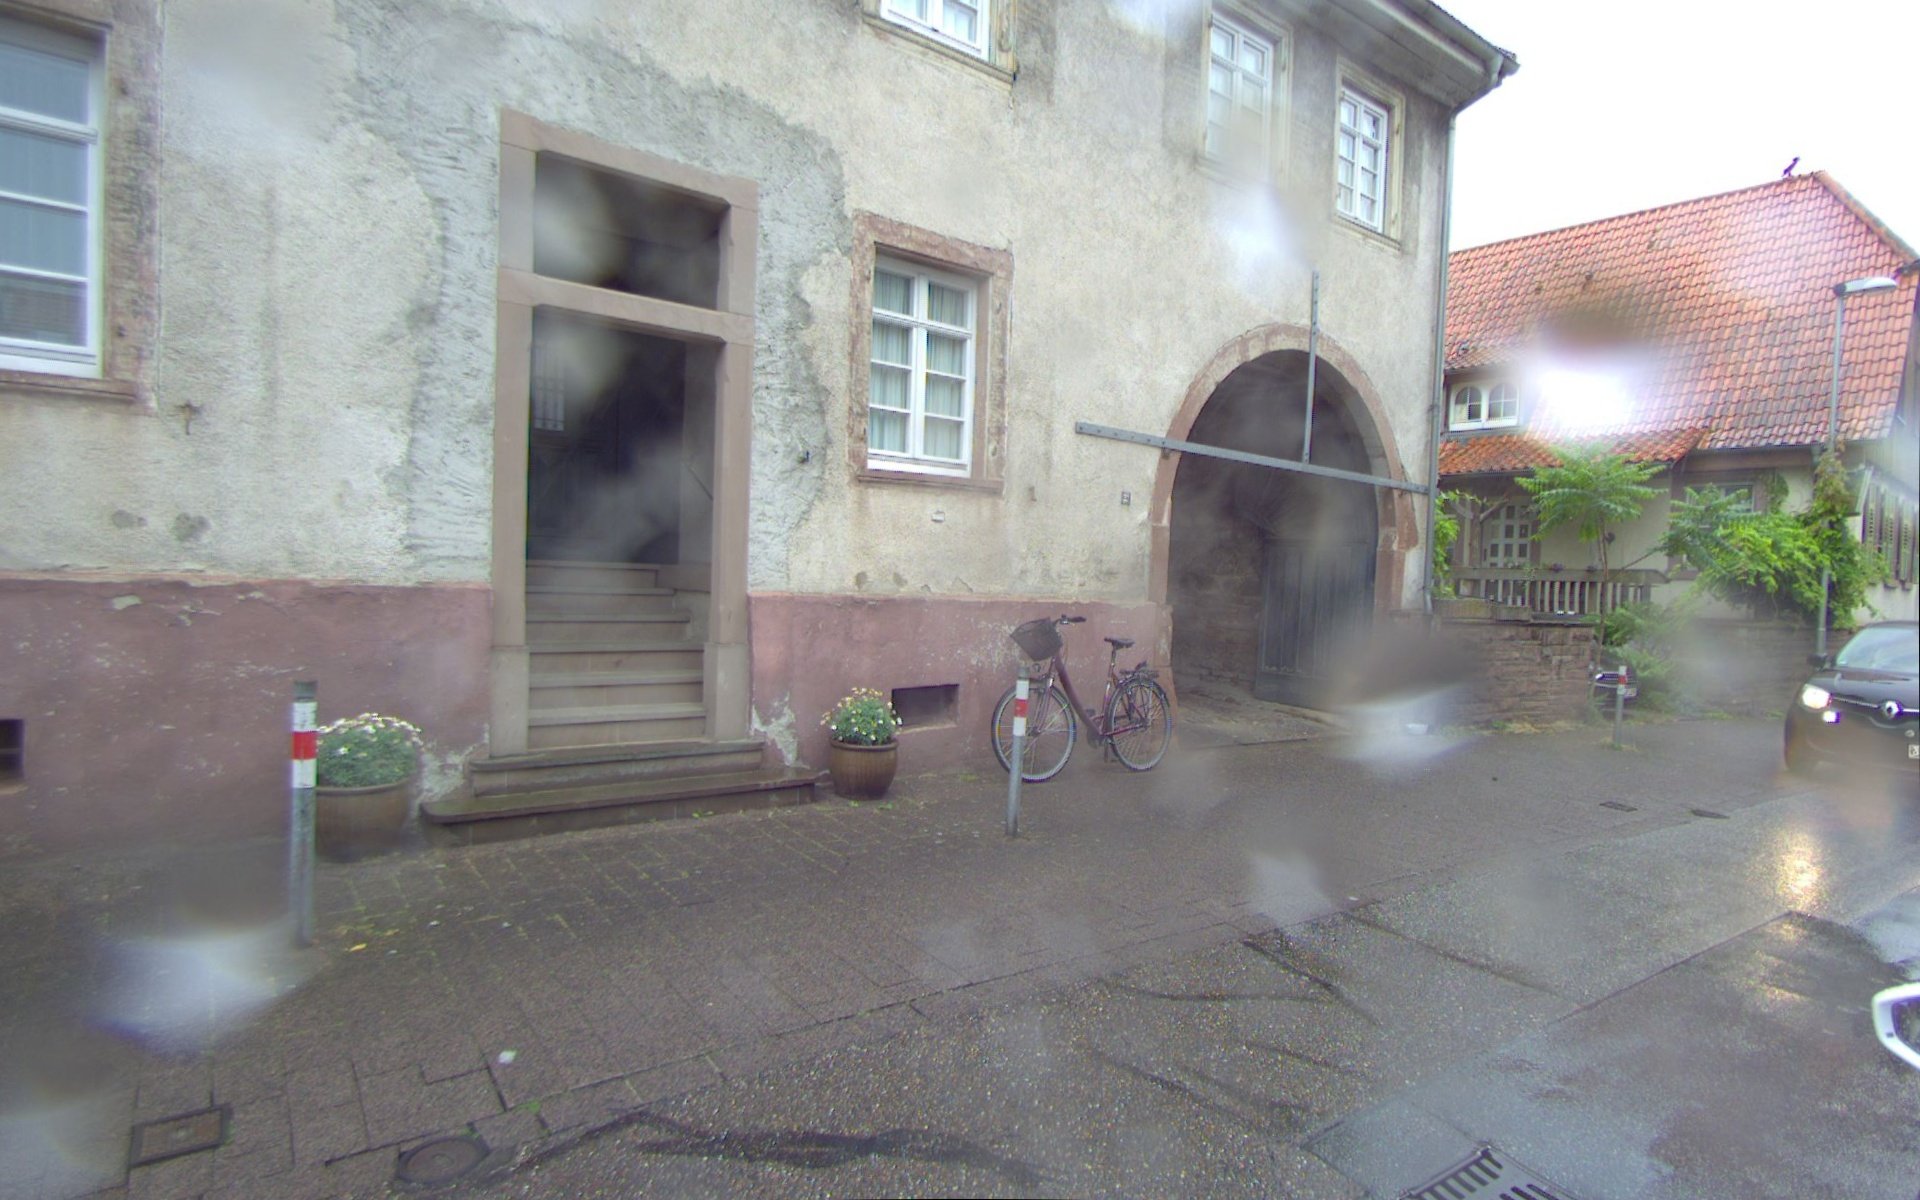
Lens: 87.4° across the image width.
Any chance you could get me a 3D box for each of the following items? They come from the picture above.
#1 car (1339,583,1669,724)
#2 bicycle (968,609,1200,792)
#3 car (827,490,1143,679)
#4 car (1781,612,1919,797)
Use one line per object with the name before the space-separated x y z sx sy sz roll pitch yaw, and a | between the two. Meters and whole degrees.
car | 7.989 0.698 15.157 1.715 1.444 3.967 2 5 -30
bicycle | 0.961 0.685 7.447 1.858 1.194 0.478 1 4 -38
car | 0.160 -0.308 13.520 1.869 1.957 4.194 6 3 -37
car | 9.585 0.954 9.799 3.654 1.533 1.592 2 1 -37
